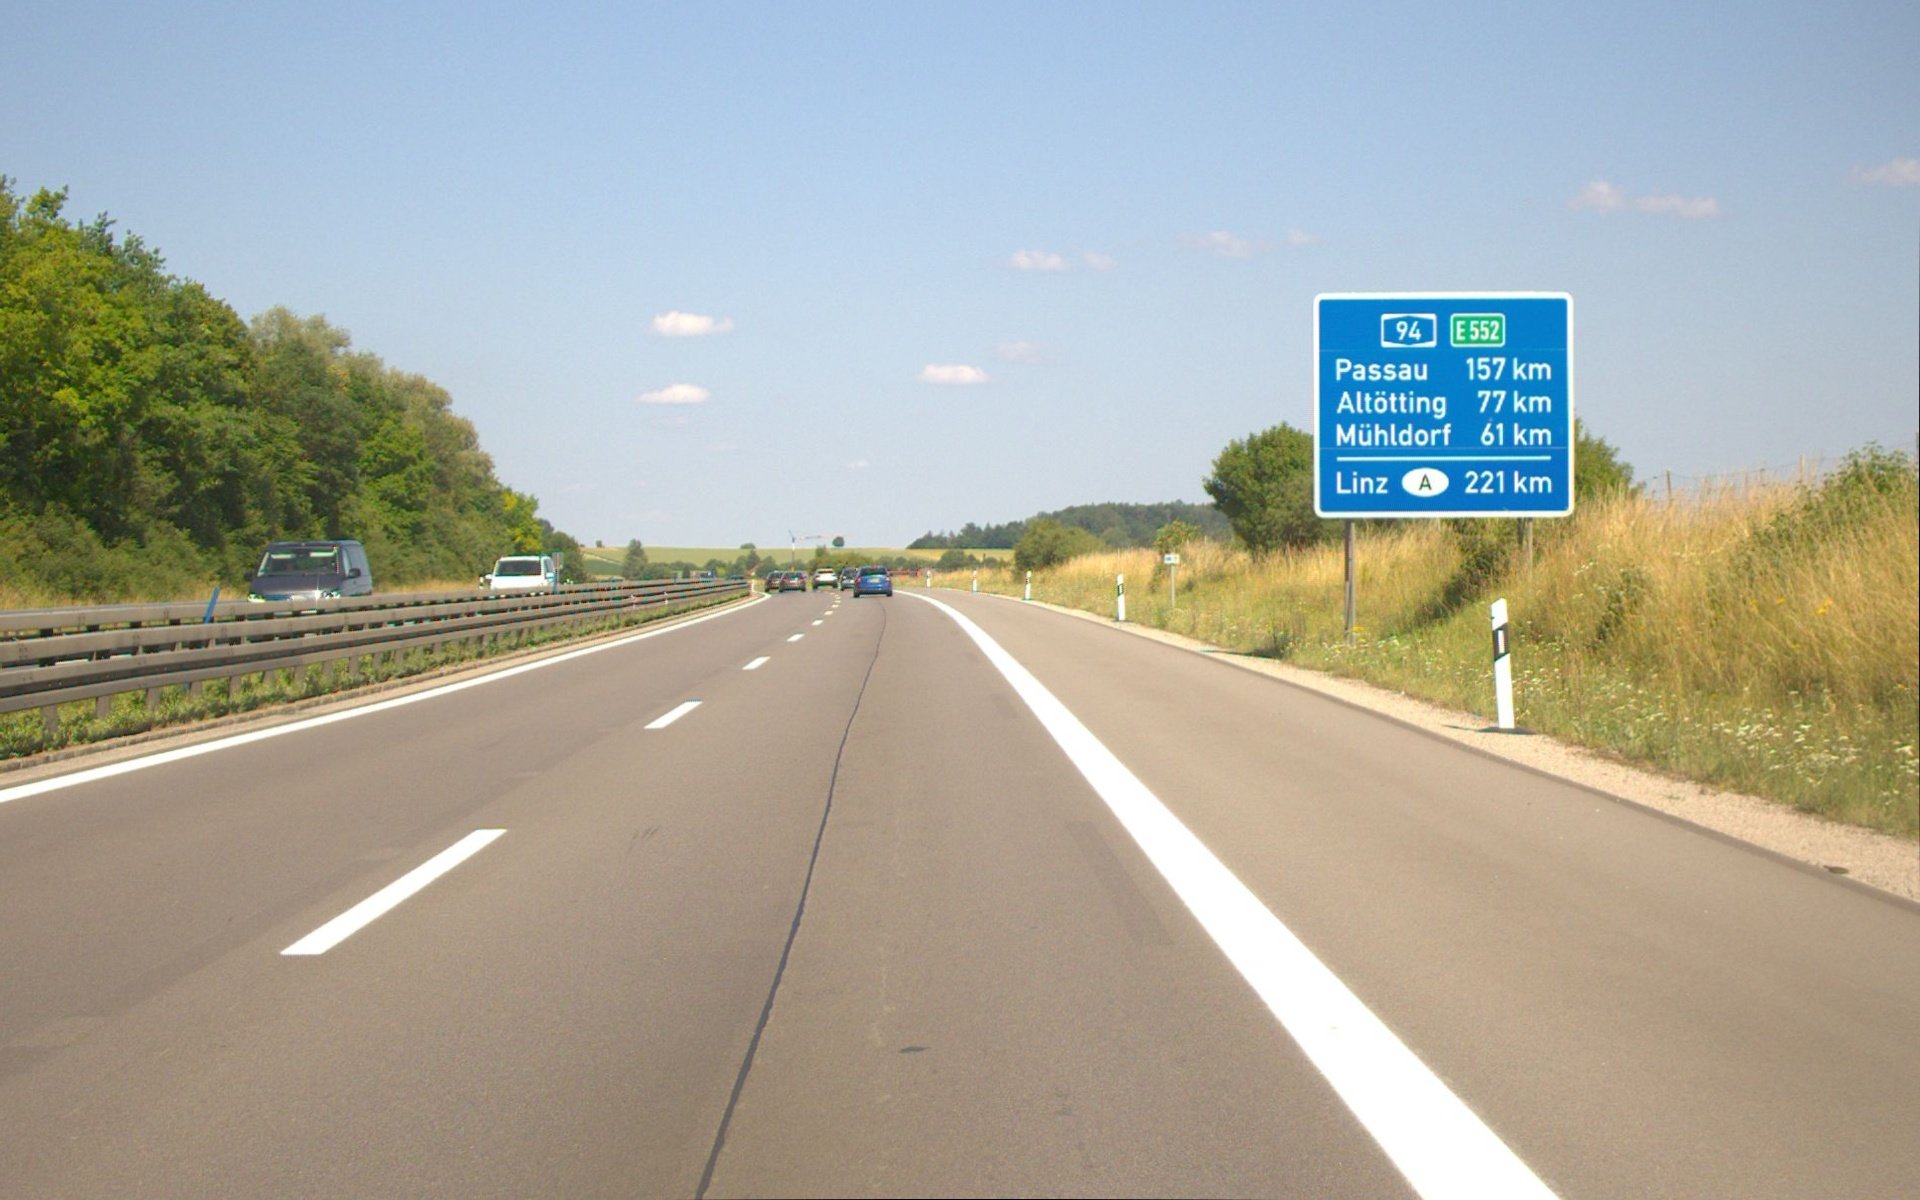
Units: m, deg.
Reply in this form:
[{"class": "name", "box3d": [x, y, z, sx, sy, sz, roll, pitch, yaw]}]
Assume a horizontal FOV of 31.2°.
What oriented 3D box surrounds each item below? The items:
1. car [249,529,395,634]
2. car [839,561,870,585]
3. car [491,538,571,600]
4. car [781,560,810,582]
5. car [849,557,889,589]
[{"class": "car", "box3d": [-12.572, -0.390, 68.004, 1.993, 1.966, 5.039, -1, 1, -1]}, {"class": "car", "box3d": [-6.745, -1.724, 219.151, 1.829, 1.448, 3.592, -2, 0, 0]}, {"class": "car", "box3d": [-14.124, -1.037, 113.356, 1.993, 1.983, 5.692, -1, 1, -1]}, {"class": "car", "box3d": [-11.338, -1.979, 237.344, 1.829, 1.448, 3.592, -2, 0, 0]}, {"class": "car", "box3d": [-4.195, -1.247, 159.180, 1.676, 1.448, 3.592, -2, 0, 1]}]
